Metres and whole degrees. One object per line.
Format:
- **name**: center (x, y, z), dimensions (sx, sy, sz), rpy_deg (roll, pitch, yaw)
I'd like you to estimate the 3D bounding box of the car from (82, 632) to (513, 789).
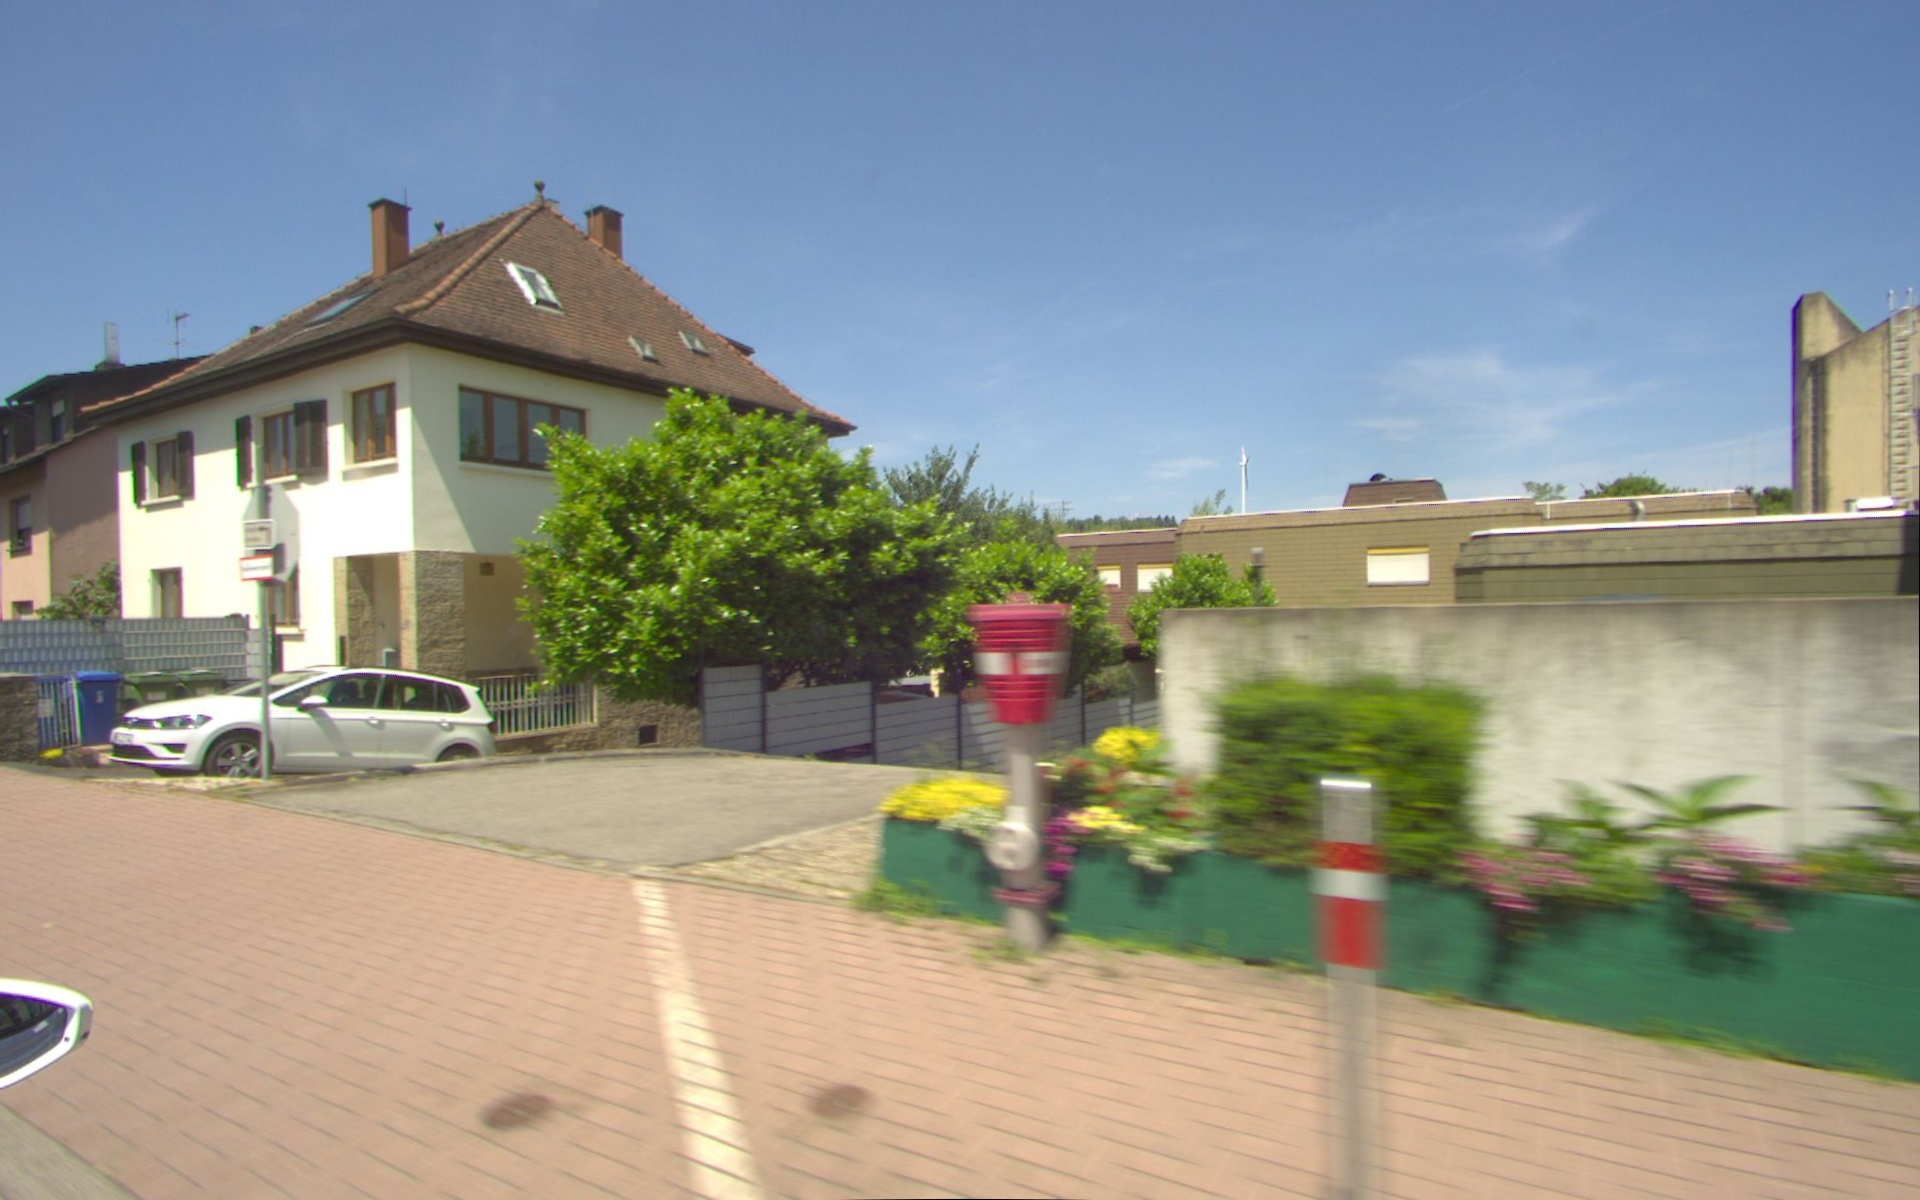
- **car**: center (-8.396, 1.538, 13.128), dimensions (1.879, 1.603, 4.175), rpy_deg (-1, -11, 32)
